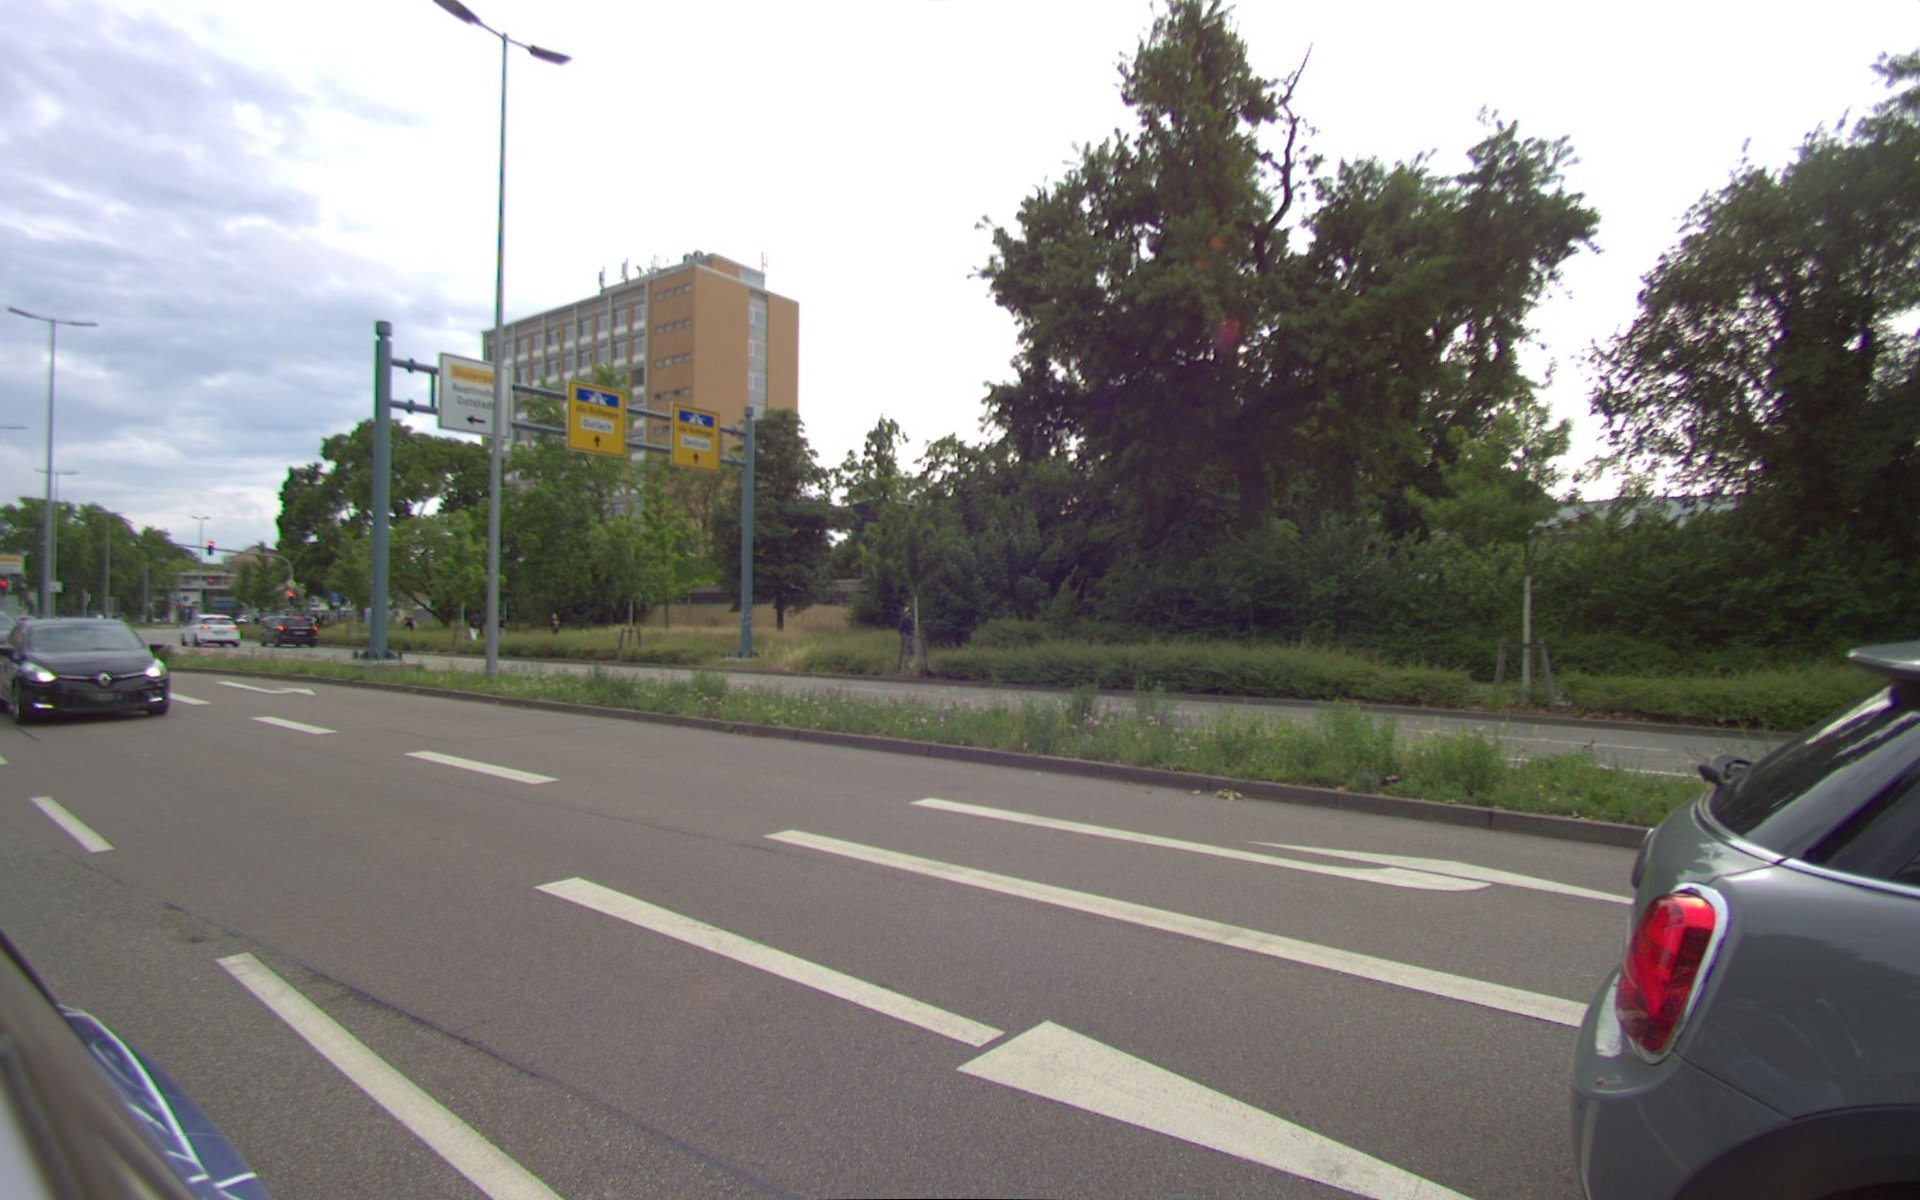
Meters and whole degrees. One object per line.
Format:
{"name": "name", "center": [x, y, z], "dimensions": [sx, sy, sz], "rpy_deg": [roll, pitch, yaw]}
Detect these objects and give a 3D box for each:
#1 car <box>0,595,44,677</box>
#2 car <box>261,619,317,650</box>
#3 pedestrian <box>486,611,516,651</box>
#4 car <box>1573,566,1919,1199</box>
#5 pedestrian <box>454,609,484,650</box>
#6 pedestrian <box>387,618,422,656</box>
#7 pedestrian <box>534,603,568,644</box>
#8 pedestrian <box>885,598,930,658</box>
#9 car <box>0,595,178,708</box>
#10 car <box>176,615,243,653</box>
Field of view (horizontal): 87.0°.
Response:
{"name": "car", "center": [-25.323, 0.908, 26.134], "dimensions": [3.998, 2.029, 1.973], "rpy_deg": [-1, -2, 41]}
{"name": "car", "center": [-34.814, 1.757, 52.450], "dimensions": [1.828, 1.564, 4.005], "rpy_deg": [1, -1, -42]}
{"name": "pedestrian", "center": [-23.742, 1.587, 52.360], "dimensions": [1.218, 2.029, 0.872], "rpy_deg": [-1, 0, 33]}
{"name": "car", "center": [2.891, 0.623, 0.996], "dimensions": [3.703, 1.328, 1.604], "rpy_deg": [-1, -2, 41]}
{"name": "pedestrian", "center": [-25.149, 1.496, 51.865], "dimensions": [1.218, 2.029, 0.872], "rpy_deg": [-1, 0, 33]}
{"name": "pedestrian", "center": [-30.925, 2.032, 56.347], "dimensions": [1.519, 2.029, 1.208], "rpy_deg": [-1, 0, 40]}
{"name": "pedestrian", "center": [-19.900, 1.142, 49.260], "dimensions": [1.163, 1.933, 1.122], "rpy_deg": [-1, 0, 44]}
{"name": "pedestrian", "center": [-1.490, 0.779, 28.558], "dimensions": [0.812, 1.637, 0.978], "rpy_deg": [-1, 0, 38]}
{"name": "car", "center": [-13.308, 0.717, 15.198], "dimensions": [3.998, 1.470, 1.709], "rpy_deg": [-1, -2, 41]}
{"name": "car", "center": [-37.819, 1.675, 50.979], "dimensions": [3.998, 1.786, 1.869], "rpy_deg": [0, 0, 41]}
